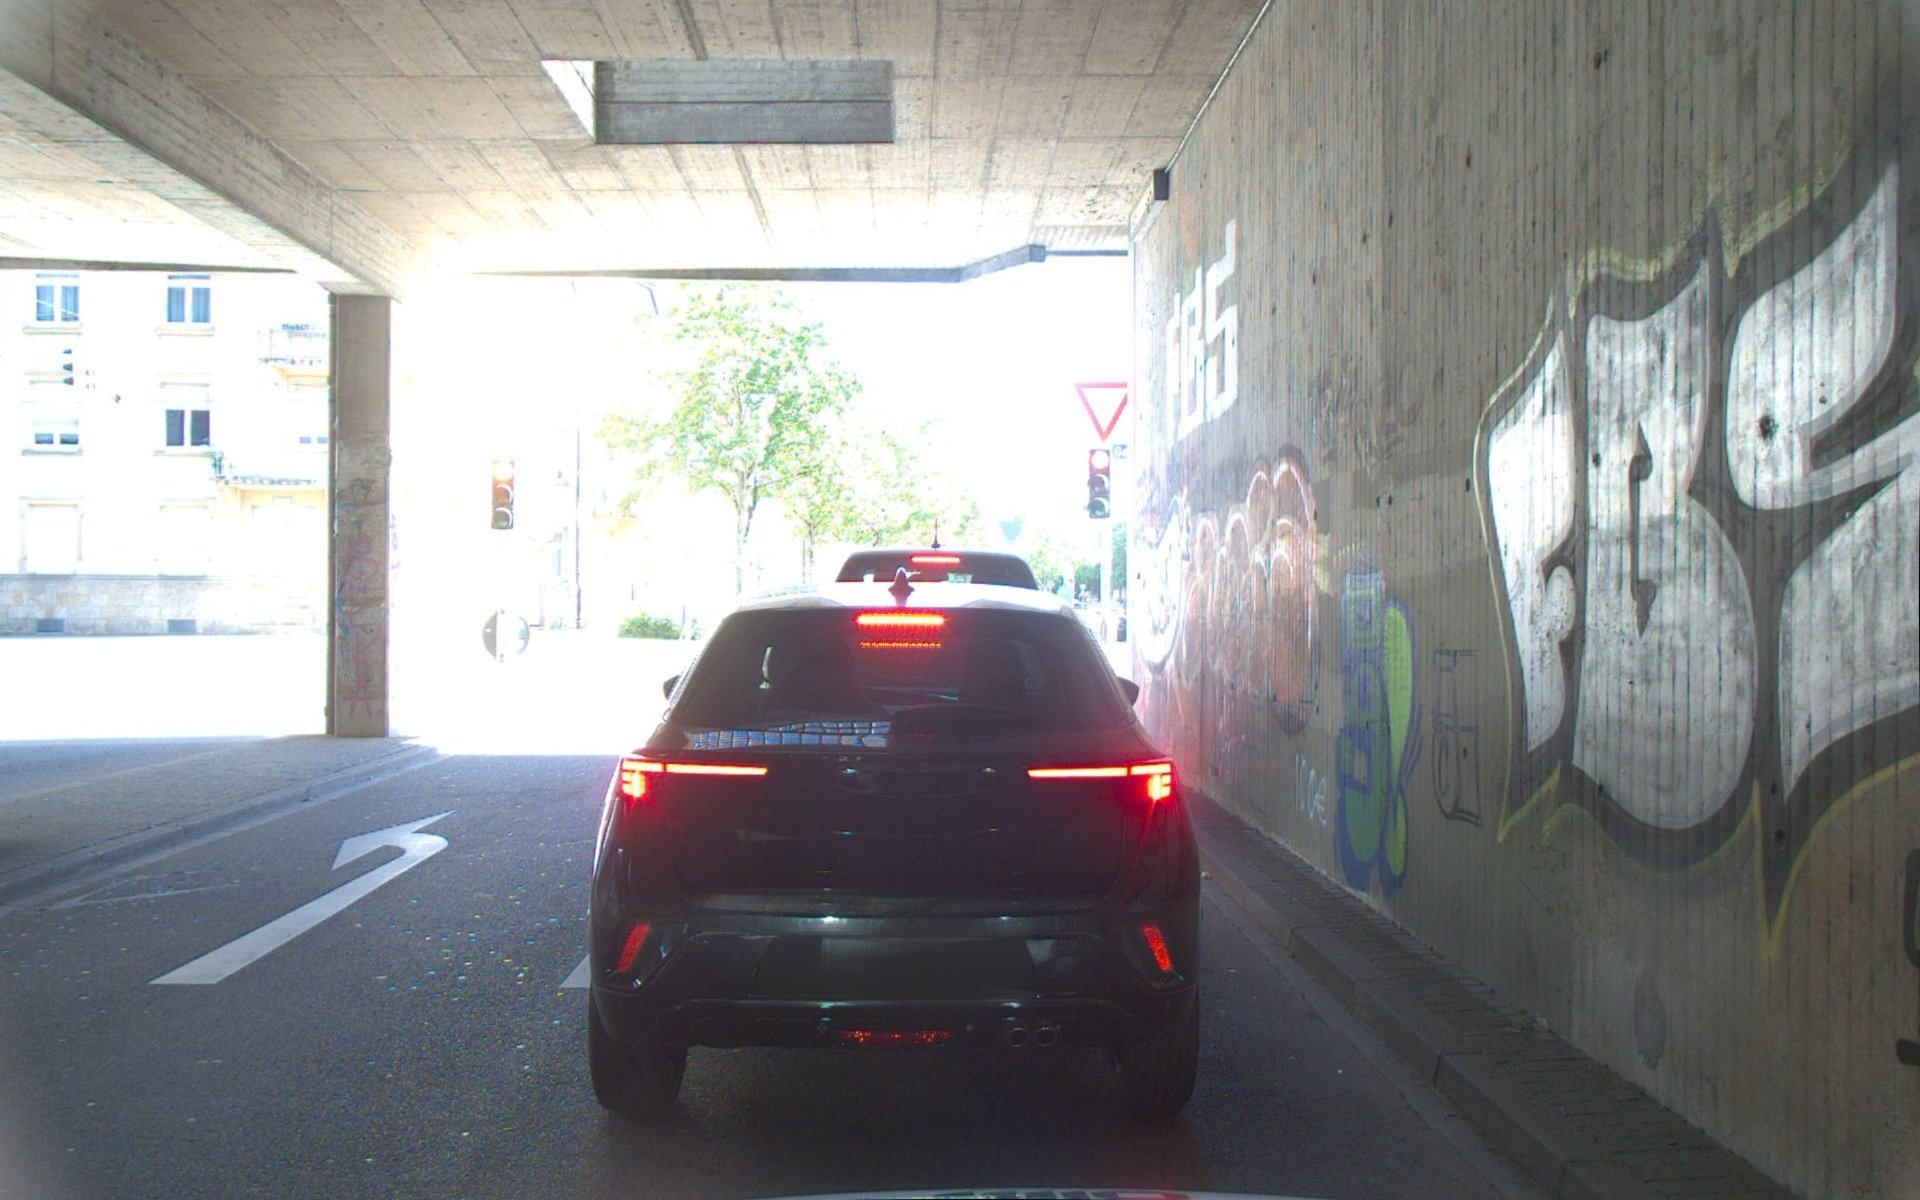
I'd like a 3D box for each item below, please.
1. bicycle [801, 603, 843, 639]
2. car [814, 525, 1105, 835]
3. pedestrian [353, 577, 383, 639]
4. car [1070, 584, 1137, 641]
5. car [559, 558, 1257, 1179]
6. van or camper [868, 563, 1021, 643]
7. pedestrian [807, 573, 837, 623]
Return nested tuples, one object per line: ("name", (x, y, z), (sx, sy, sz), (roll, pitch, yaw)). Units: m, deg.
("bicycle", (-4.546, 0.672, 54.710), (0.721, 1.150, 2.027), (0, 0, 16))
("car", (-0.021, 0.478, 12.060), (1.749, 1.865, 3.960), (1, 0, -1))
("pedestrian", (-16.656, 0.219, 46.563), (0.709, 1.734, 0.622), (1, -1, -15))
("car", (4.441, 0.361, 51.769), (1.952, 1.670, 4.595), (0, 1, 3))
("car", (-0.143, 0.662, 6.132), (1.718, 1.525, 4.000), (1, 0, -1))
("van or camper", (-0.371, 0.082, 43.392), (3.795, 2.049, 2.002), (0, 0, 7))
("pedestrian", (-4.555, -0.055, 54.635), (0.720, 1.612, 0.891), (1, -1, 15))
